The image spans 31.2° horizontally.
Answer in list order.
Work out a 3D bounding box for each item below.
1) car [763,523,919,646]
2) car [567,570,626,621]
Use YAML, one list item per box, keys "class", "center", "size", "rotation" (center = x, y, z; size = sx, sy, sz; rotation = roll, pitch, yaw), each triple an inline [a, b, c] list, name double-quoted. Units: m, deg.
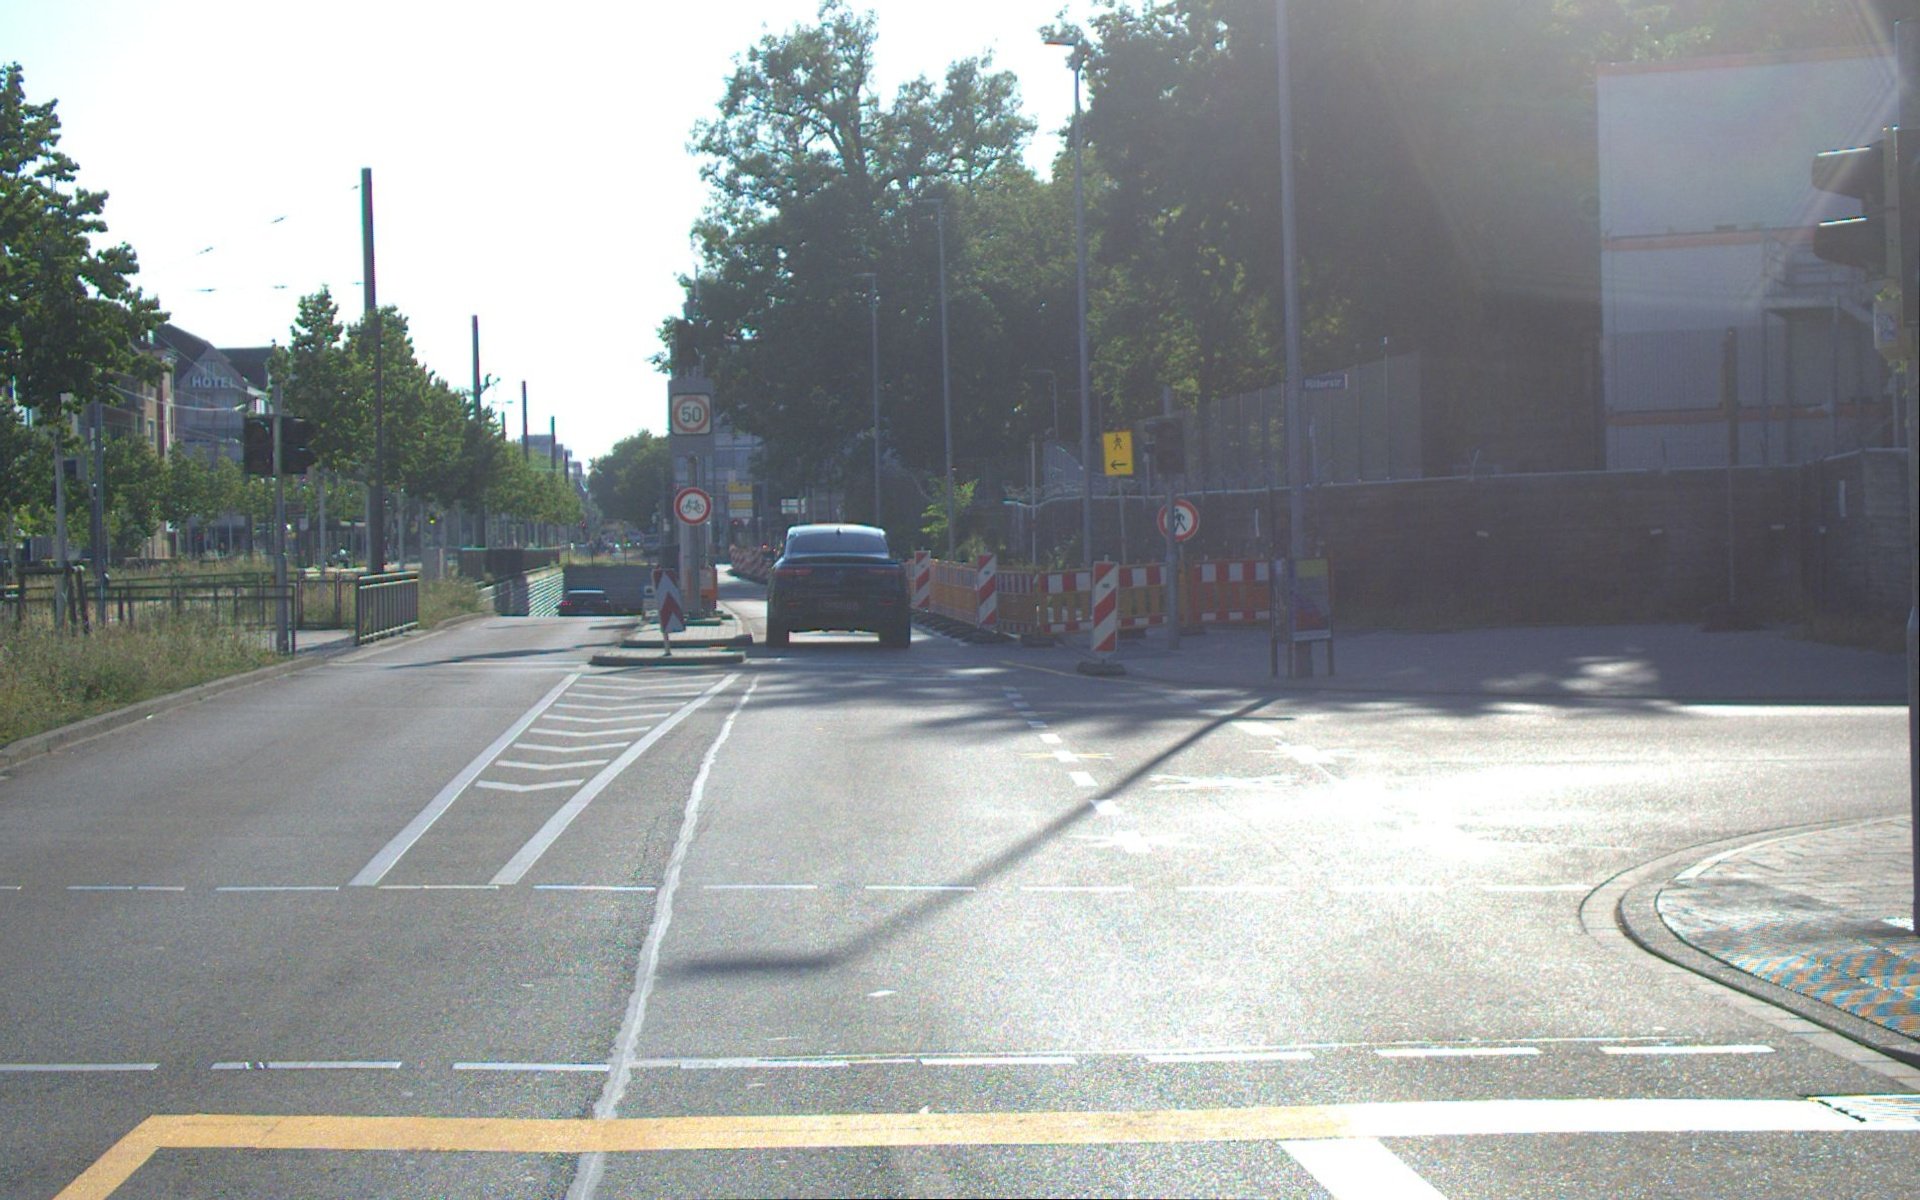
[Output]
- class: "car"
  center: [-1.723, -0.226, 48.692]
  size: [2.005, 1.653, 4.001]
  rotation: [1, 0, -5]
- class: "car"
  center: [-12.077, -0.156, 114.453]
  size: [1.826, 1.653, 4.001]
  rotation: [1, 0, -5]
